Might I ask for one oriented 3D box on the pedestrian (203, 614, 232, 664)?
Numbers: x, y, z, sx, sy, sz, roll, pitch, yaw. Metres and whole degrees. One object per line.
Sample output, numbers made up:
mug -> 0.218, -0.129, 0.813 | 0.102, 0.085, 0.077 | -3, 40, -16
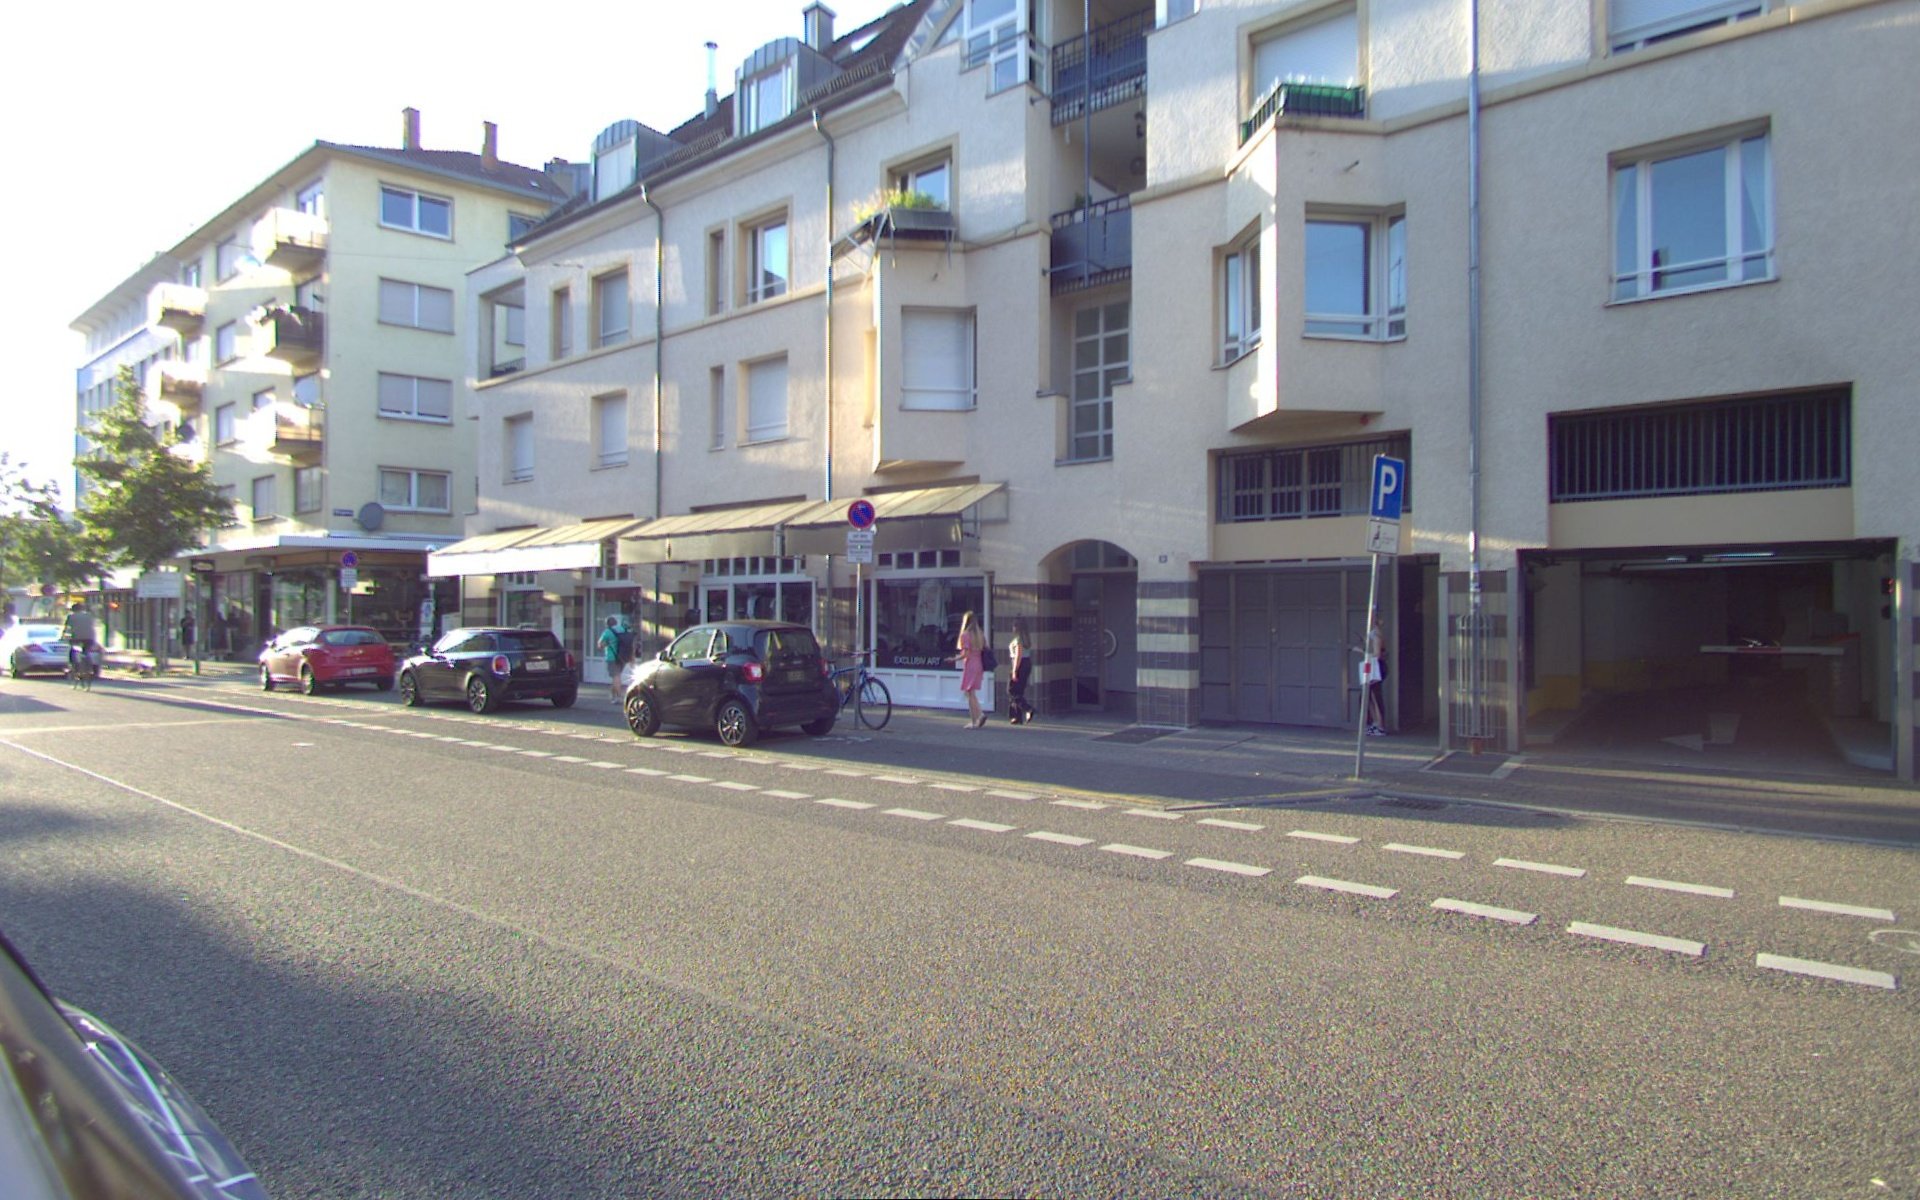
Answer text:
pedestrian -> -27.004, 1.413, 36.800 | 0.666, 1.805, 0.711 | -1, -1, 39

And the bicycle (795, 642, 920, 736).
bicycle -> -1.476, 1.213, 14.292 | 1.976, 1.215, 0.552 | -1, -2, 41

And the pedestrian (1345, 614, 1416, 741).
pedestrian -> 5.392, 0.980, 13.007 | 0.771, 1.584, 0.531 | 0, -2, 15

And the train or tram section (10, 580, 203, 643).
train or tram section -> -56.394, 0.729, 67.401 | 3.110, 3.839, 10.415 | -1, 0, 8

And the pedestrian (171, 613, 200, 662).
pedestrian -> -28.929, 1.391, 37.780 | 0.666, 1.805, 0.711 | -1, -1, 39

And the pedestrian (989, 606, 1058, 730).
pedestrian -> 0.908, 0.954, 14.531 | 0.830, 1.713, 0.554 | -1, -2, 38

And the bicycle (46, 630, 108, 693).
bicycle -> -18.512, 1.266, 21.212 | 2.129, 1.252, 0.656 | -1, -4, 42

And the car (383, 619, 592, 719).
car -> -8.417, 1.135, 17.950 | 3.780, 1.592, 1.773 | -1, -2, 36

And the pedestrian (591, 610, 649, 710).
pedestrian -> -6.114, 1.057, 18.200 | 0.737, 1.747, 0.711 | -1, -1, 38

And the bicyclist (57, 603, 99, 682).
bicyclist -> -18.321, 0.872, 21.022 | 0.802, 1.593, 0.541 | -1, -2, 41

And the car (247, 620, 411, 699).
car -> -13.866, 1.240, 22.182 | 3.780, 1.592, 1.773 | -1, -2, 36

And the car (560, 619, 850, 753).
car -> -3.576, 1.067, 13.963 | 3.959, 1.592, 1.773 | -1, -2, 36

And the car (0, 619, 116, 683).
car -> -24.803, 1.349, 27.454 | 4.397, 1.617, 1.975 | -1, -3, 37

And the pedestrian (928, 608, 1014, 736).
pedestrian -> 0.150, 0.971, 14.137 | 1.039, 1.713, 0.624 | -1, -2, 38
